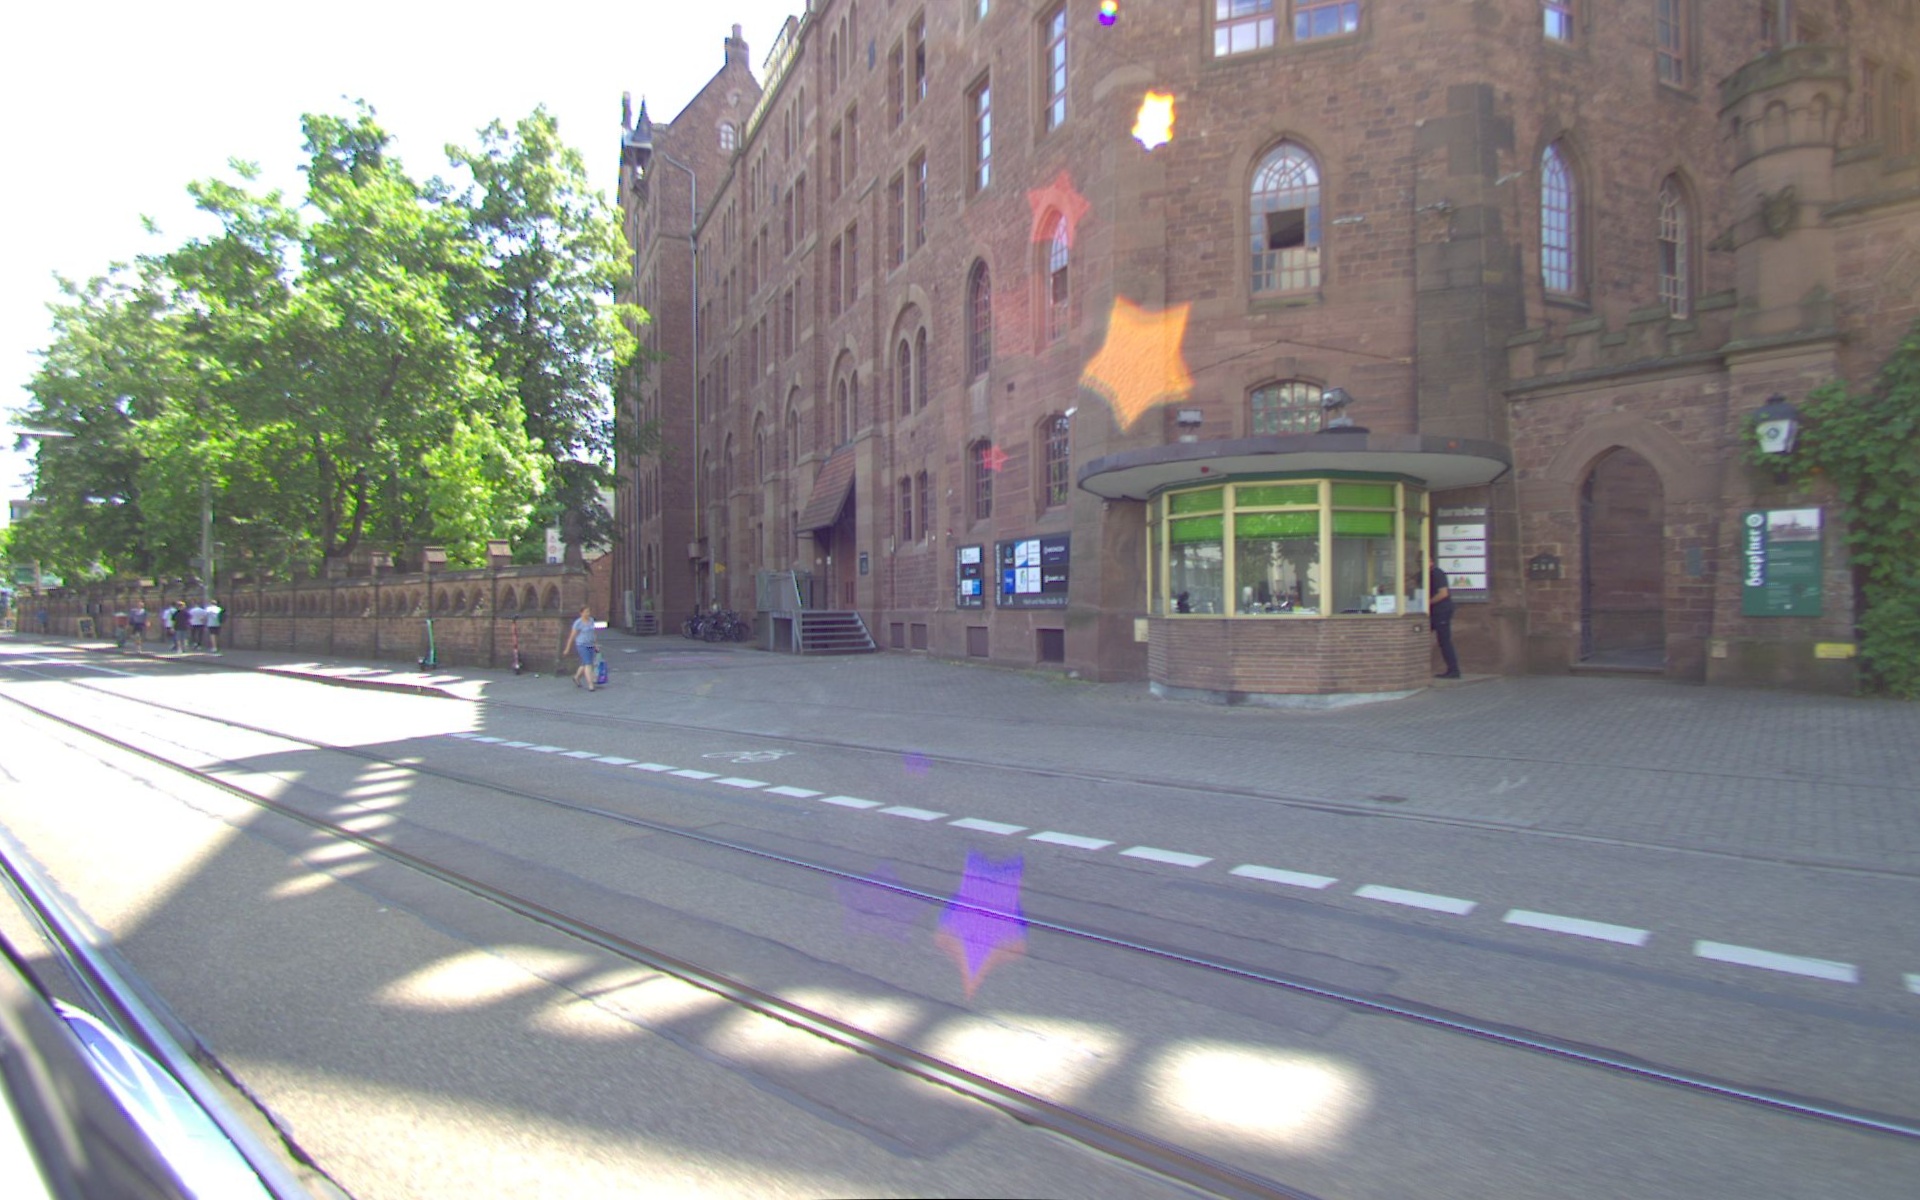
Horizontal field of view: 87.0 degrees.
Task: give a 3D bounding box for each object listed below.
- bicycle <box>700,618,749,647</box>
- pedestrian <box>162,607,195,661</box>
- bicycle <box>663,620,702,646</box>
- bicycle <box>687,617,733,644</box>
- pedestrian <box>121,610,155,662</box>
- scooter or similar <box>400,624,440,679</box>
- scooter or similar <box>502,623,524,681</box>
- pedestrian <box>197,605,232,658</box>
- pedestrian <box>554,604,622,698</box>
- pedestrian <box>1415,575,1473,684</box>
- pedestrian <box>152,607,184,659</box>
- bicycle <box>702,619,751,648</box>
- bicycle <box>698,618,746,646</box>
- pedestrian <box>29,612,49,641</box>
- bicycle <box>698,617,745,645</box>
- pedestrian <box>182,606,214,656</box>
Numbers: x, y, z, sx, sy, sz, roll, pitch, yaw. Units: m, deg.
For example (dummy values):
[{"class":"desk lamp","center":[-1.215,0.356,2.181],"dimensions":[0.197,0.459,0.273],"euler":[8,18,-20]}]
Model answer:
[{"class":"bicycle","center":[-8.873,1.212,38.100],"dimensions":[1.753,1.001,0.494],"euler":[-1,0,-15]},{"class":"pedestrian","center":[-26.768,1.153,34.669],"dimensions":[0.919,1.761,0.670],"euler":[-1,2,41]},{"class":"bicycle","center":[-11.363,1.348,41.506],"dimensions":[0.490,1.001,1.767],"euler":[-1,0,27]},{"class":"bicycle","center":[-9.900,1.203,40.069],"dimensions":[1.753,1.001,0.494],"euler":[-1,0,-17]},{"class":"pedestrian","center":[-29.427,1.266,36.244],"dimensions":[0.919,1.805,0.714],"euler":[-1,2,41]},{"class":"scooter or similar","center":[-12.298,1.158,23.071],"dimensions":[0.343,1.135,1.227],"euler":[-1,2,-6]},{"class":"scooter or similar","center":[-9.355,1.075,21.197],"dimensions":[0.324,1.135,1.227],"euler":[-1,0,-21]},{"class":"pedestrian","center":[-25.984,1.076,35.269],"dimensions":[0.919,1.790,0.745],"euler":[-1,2,41]},{"class":"pedestrian","center":[-6.816,0.915,18.535],"dimensions":[0.919,1.600,0.791],"euler":[2,4,41]},{"class":"pedestrian","center":[6.442,0.384,13.475],"dimensions":[0.582,1.411,0.416],"euler":[-1,0,41]},{"class":"pedestrian","center":[-28.302,1.156,36.160],"dimensions":[0.919,1.803,0.670],"euler":[-1,2,41]},{"class":"bicycle","center":[-8.658,1.225,37.520],"dimensions":[1.753,1.001,0.494],"euler":[-1,0,-15]},{"class":"bicycle","center":[-9.105,1.213,38.690],"dimensions":[1.753,1.001,0.494],"euler":[-1,0,-15]},{"class":"pedestrian","center":[-56.070,1.614,61.632],"dimensions":[0.919,1.761,0.741],"euler":[-1,1,41]},{"class":"bicycle","center":[-9.264,1.196,39.286],"dimensions":[1.753,1.001,0.494],"euler":[-1,0,-15]},{"class":"pedestrian","center":[-27.791,1.125,36.897],"dimensions":[0.919,1.790,0.670],"euler":[-1,2,41]}]
